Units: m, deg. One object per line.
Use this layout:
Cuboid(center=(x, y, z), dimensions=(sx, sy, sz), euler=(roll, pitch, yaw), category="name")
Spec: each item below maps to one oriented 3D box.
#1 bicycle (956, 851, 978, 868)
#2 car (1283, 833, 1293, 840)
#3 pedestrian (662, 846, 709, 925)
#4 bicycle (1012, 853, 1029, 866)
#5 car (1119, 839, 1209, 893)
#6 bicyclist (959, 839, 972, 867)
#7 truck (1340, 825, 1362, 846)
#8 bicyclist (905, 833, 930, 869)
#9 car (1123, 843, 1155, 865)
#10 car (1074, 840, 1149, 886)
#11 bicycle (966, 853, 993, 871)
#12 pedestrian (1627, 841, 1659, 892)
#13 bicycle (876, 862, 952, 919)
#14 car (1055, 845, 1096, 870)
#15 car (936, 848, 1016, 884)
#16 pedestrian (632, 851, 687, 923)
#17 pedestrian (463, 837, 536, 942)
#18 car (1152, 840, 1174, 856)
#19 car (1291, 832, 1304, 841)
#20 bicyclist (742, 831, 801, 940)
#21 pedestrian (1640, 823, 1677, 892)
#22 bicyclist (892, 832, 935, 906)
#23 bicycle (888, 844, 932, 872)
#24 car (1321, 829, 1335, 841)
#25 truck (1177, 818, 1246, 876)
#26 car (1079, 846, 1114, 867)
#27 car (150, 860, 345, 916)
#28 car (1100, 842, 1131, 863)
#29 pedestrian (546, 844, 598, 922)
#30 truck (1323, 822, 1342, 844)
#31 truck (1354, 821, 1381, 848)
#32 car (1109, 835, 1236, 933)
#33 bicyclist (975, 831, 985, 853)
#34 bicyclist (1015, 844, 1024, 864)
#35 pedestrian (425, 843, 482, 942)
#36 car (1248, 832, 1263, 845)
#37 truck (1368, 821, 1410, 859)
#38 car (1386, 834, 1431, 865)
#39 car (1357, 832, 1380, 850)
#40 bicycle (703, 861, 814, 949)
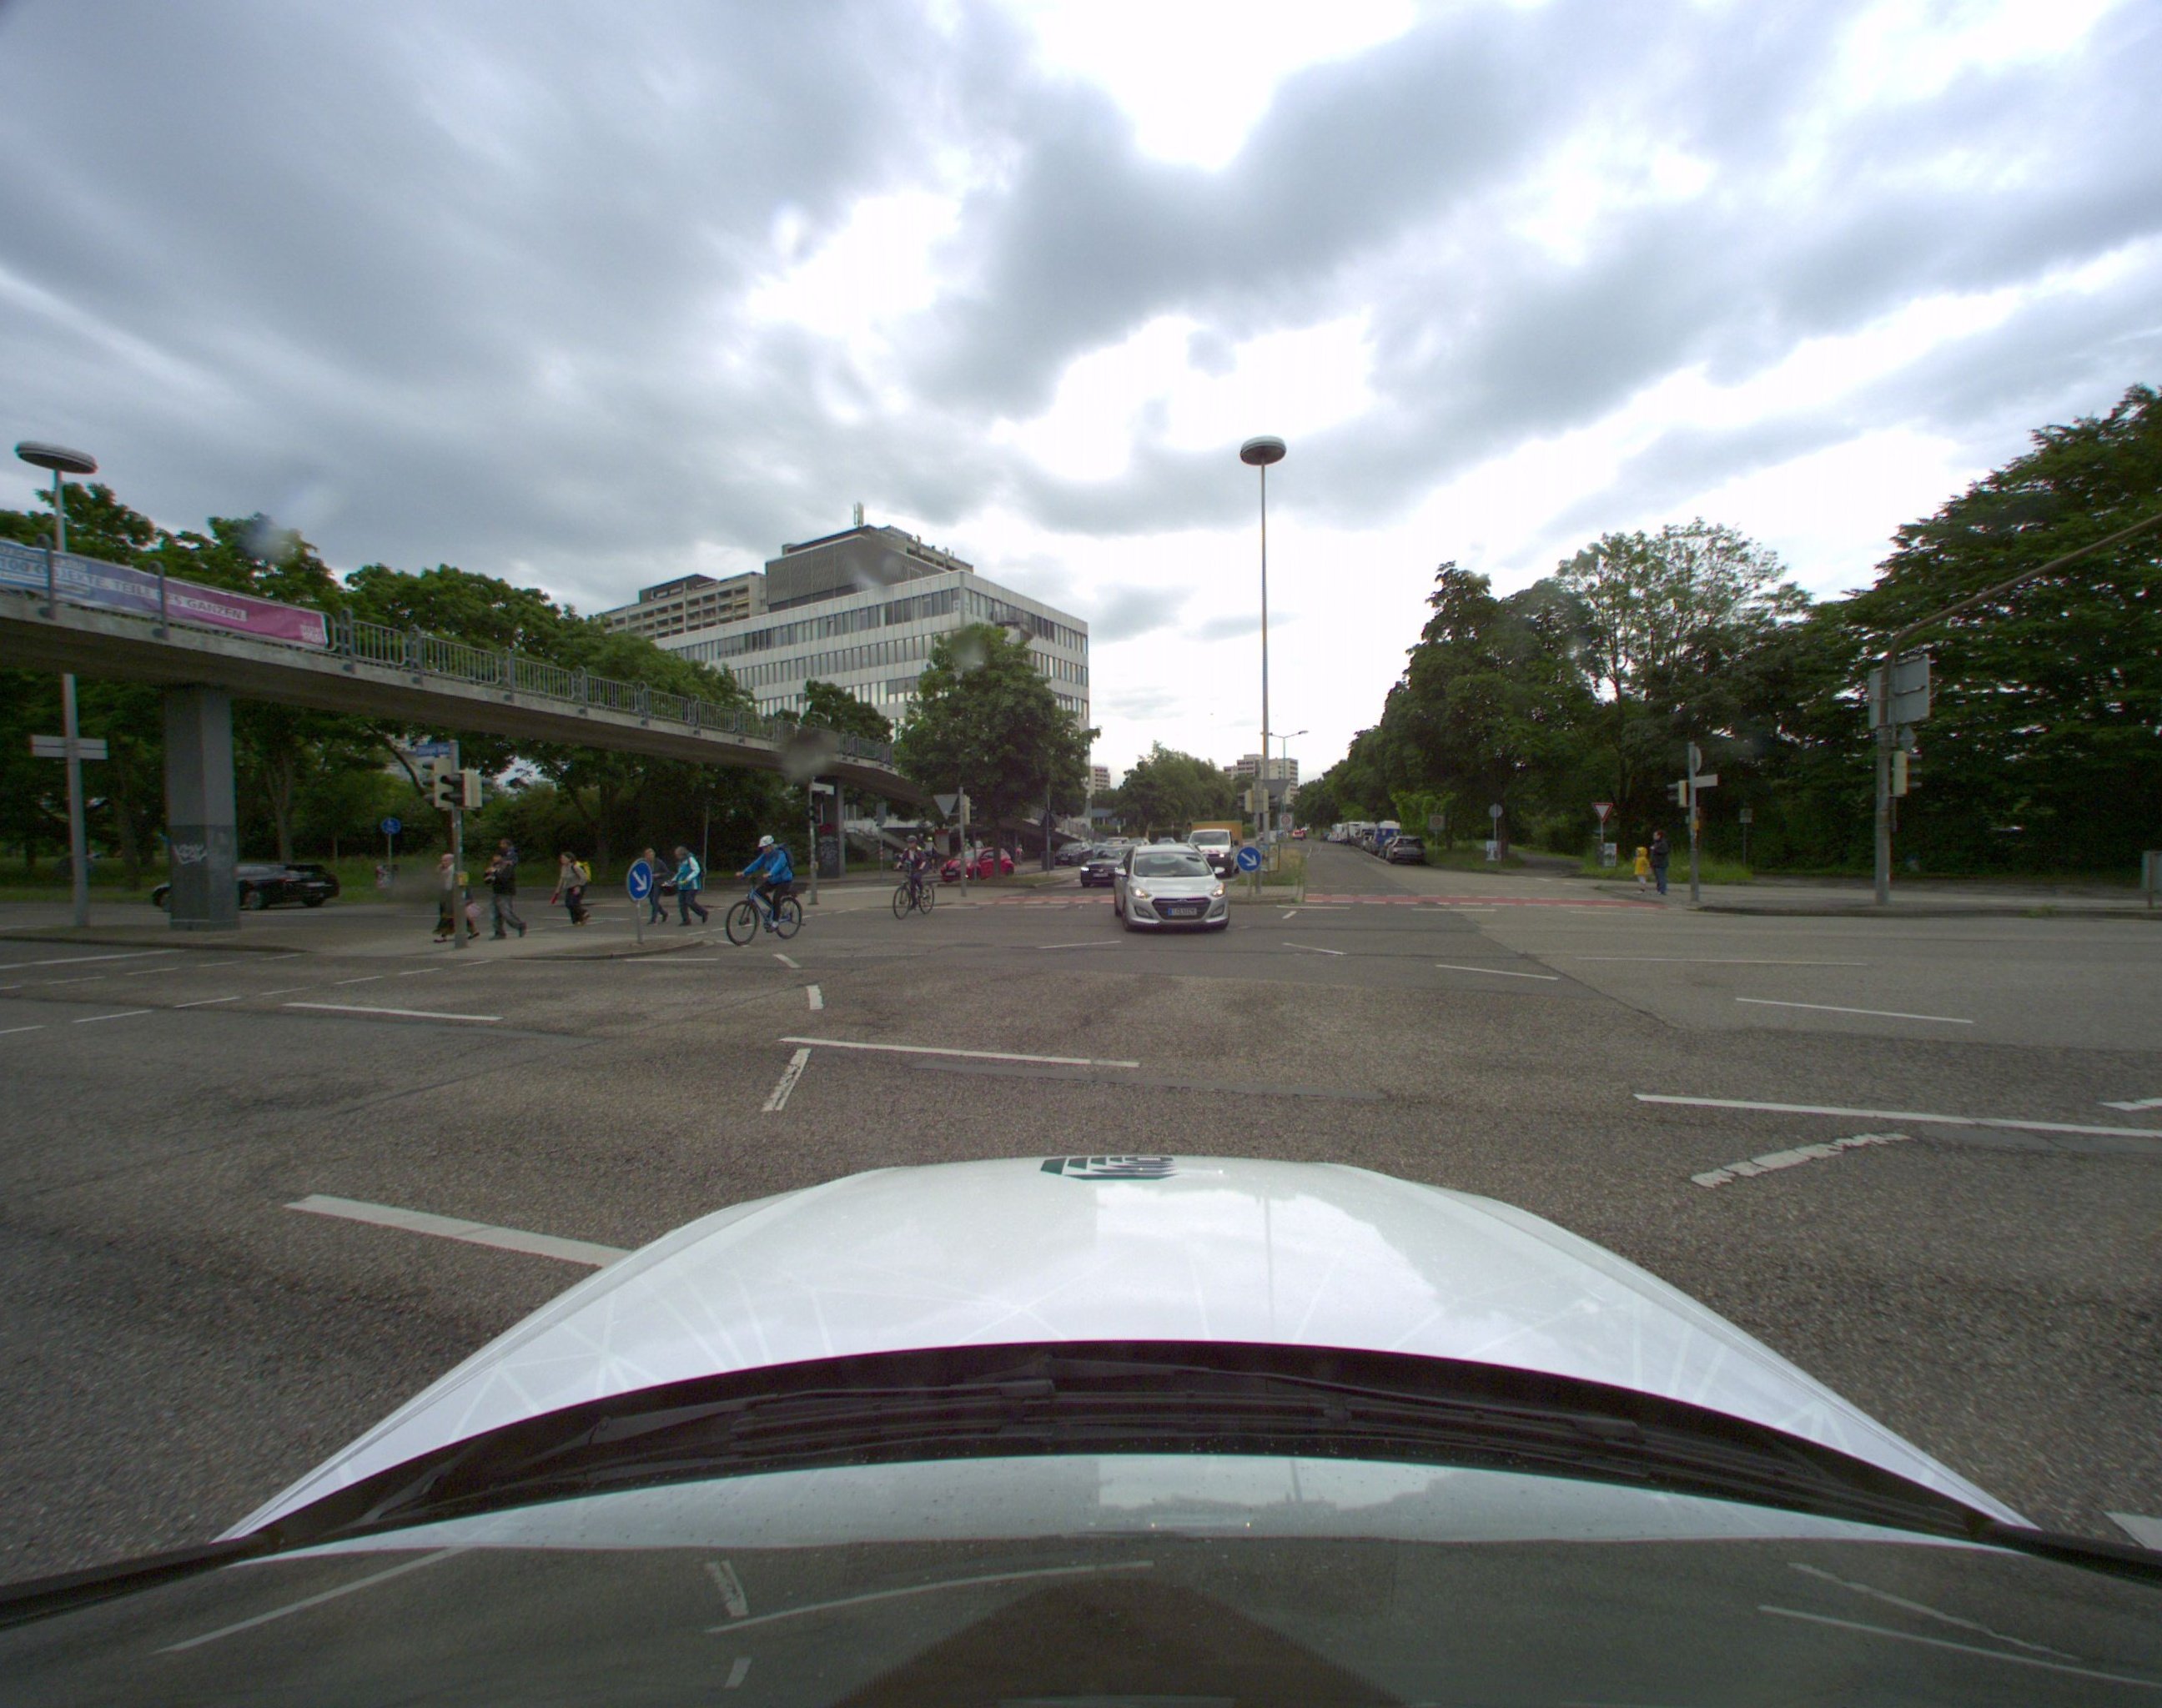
Cuboid(center=(-6.760, 0.305, 48.510), dimensions=(0.522, 0.949, 1.718), euler=(-1, 1, 21), category="bicycle")
Cuboid(center=(42.519, -3.599, 167.037), dimensions=(2.006, 1.505, 4.016), euler=(-1, 1, 14), category="car")
Cuboid(center=(-8.240, 0.652, 16.982), dimensions=(0.683, 1.604, 0.489), euler=(-1, 1, 9), category="pedestrian")
Cuboid(center=(-3.847, 0.338, 51.970), dimensions=(0.506, 0.778, 1.849), euler=(-1, 1, 16), category="bicycle")
Cuboid(center=(2.611, 0.283, 24.382), dimensions=(1.882, 1.420, 4.756), euler=(-1, 1, 15), category="car")
Cuboid(center=(-6.849, -0.068, 48.286), dimensions=(0.560, 1.644, 0.534), euler=(-1, 0, 21), category="bicyclist")
Cuboid(center=(33.765, -2.275, 101.887), dimensions=(1.980, 2.572, 5.397), euler=(-1, 1, 12), category="truck")
Cuboid(center=(-8.854, -0.163, 44.105), dimensions=(0.849, 1.892, 1.132), euler=(-1, 2, 16), category="bicyclist")
Cuboid(center=(3.949, -0.015, 55.144), dimensions=(1.546, 1.346, 2.986), euler=(-1, 1, 17), category="car")
Cuboid(center=(1.184, 0.272, 29.356), dimensions=(1.757, 1.477, 4.407), euler=(-1, 1, 14), category="car")
Cuboid(center=(-5.648, 0.440, 45.456), dimensions=(0.756, 0.949, 1.962), euler=(-1, 1, 16), category="bicycle")
Cuboid(center=(14.879, 0.325, 21.570), dimensions=(0.523, 1.341, 0.527), euler=(-1, 1, 14), category="pedestrian")
Cuboid(center=(-3.654, 0.760, 18.028), dimensions=(0.721, 1.101, 2.273), euler=(-1, 1, 14), category="bicycle")
Cuboid(center=(-0.321, 0.202, 53.953), dimensions=(1.659, 1.552, 3.908), euler=(-1, 1, 15), category="car")
Cuboid(center=(-4.431, 0.474, 34.737), dimensions=(1.497, 1.390, 3.555), euler=(-1, 1, 31), category="car")
Cuboid(center=(-9.043, 0.693, 17.484), dimensions=(0.913, 1.510, 0.404), euler=(-1, 1, 3), category="pedestrian")
Cuboid(center=(-10.292, 0.604, 14.429), dimensions=(0.634, 1.803, 0.803), euler=(-1, 1, 5), category="pedestrian")
Cuboid(center=(8.506, -0.653, 83.972), dimensions=(1.659, 1.552, 4.016), euler=(-1, 1, 15), category="car")
Cuboid(center=(35.991, -2.896, 135.392), dimensions=(2.006, 1.505, 4.016), euler=(-1, 1, 14), category="car")
Cuboid(center=(-5.166, 0.507, 13.620), dimensions=(0.640, 1.768, 0.649), euler=(-1, 1, 12), category="bicyclist")
Cuboid(center=(14.844, 0.077, 20.954), dimensions=(0.652, 1.749, 0.461), euler=(-1, 1, 14), category="pedestrian")
Cuboid(center=(-3.703, 0.329, 18.070), dimensions=(0.674, 1.594, 0.698), euler=(-1, 0, 14), category="bicyclist")
Cuboid(center=(-9.063, 0.191, 43.321), dimensions=(0.849, 1.315, 3.244), euler=(-1, 2, 16), category="bicycle")
Cuboid(center=(38.807, -3.000, 128.164), dimensions=(1.641, 1.918, 3.931), euler=(-1, 2, 10), category="car")
Cuboid(center=(5.588, -0.349, 34.128), dimensions=(2.139, 2.198, 5.866), euler=(-1, 1, 16), category="truck")
Cuboid(center=(1.178, 0.139, 59.266), dimensions=(1.659, 1.387, 3.911), euler=(-1, 1, 15), category="car")
Cuboid(center=(-25.742, 1.031, 25.241), dimensions=(4.365, 1.507, 1.674), euler=(-1, 2, 2), category="car")
Cuboid(center=(2.784, -0.145, 64.375), dimensions=(1.659, 1.552, 3.777), euler=(-1, 1, 15), category="car")
Cuboid(center=(-10.704, 0.594, 17.142), dimensions=(0.578, 1.579, 0.780), euler=(-1, 1, -4), category="pedestrian")
Cuboid(center=(34.782, -2.883, 112.787), dimensions=(1.981, 3.008, 5.790), euler=(-1, 1, 11), category="truck")
Cuboid(center=(31.597, -2.119, 89.940), dimensions=(1.981, 2.838, 5.749), euler=(-1, 1, 10), category="truck")
Cuboid(center=(1.570, 0.440, 15.440), dimensions=(1.784, 1.518, 4.323), euler=(-1, 2, -2), category="car")
Cuboid(center=(-5.637, -0.673, 45.367), dimensions=(0.402, 1.181, 0.379), euler=(0, 2, 16), category="bicyclist")
Cuboid(center=(-3.910, -0.009, 51.877), dimensions=(0.428, 1.217, 0.569), euler=(-1, 1, 13), category="bicyclist")
Cuboid(center=(-10.981, 0.666, 14.259), dimensions=(0.616, 1.691, 0.405), euler=(-1, 1, 0), category="pedestrian")
Cuboid(center=(26.834, -2.377, 125.099), dimensions=(1.979, 2.013, 4.017), euler=(-1, 1, 15), category="car")
Cuboid(center=(23.234, -1.073, 61.667), dimensions=(2.159, 2.656, 6.270), euler=(-1, 0, 14), category="truck")
Cuboid(center=(18.249, -0.278, 45.536), dimensions=(1.771, 1.661, 4.016), euler=(-1, 1, 14), category="car")
Cuboid(center=(28.502, -1.281, 80.829), dimensions=(1.708, 1.759, 4.014), euler=(-1, 1, 12), category="car")
Cuboid(center=(-5.236, 0.782, 13.405), dimensions=(0.539, 1.267, 2.119), euler=(-1, 1, 14), category="bicycle")
